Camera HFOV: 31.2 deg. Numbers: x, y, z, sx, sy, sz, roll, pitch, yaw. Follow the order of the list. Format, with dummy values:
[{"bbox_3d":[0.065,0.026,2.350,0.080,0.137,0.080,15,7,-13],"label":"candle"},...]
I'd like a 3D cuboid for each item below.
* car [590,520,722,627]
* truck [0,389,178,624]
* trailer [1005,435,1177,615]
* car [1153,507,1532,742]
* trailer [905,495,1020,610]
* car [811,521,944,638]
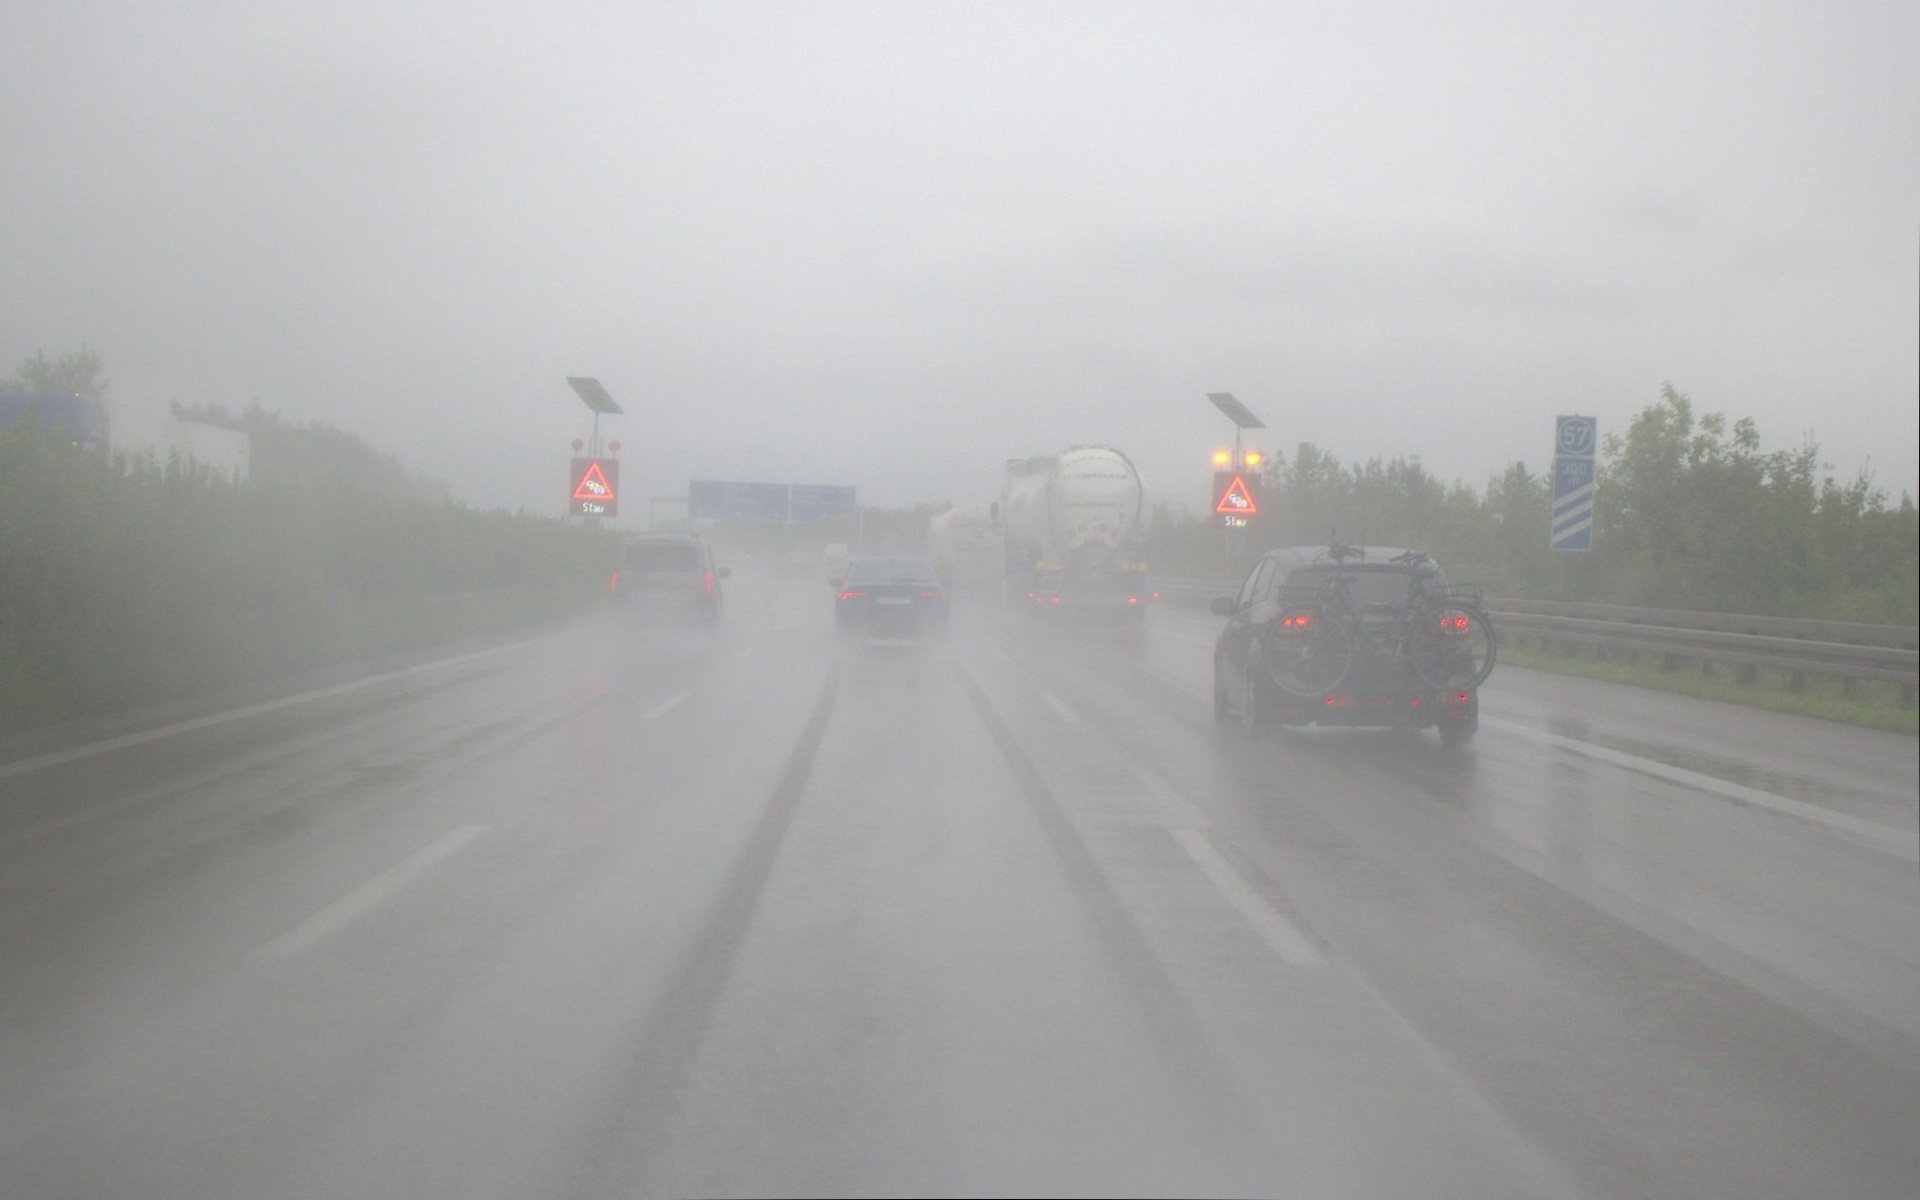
[{"bbox_3d":[-5.138,-0.467,58.642,1.925,1.735,4.404,1,1,-1],"label":"car"},{"bbox_3d":[-19.375,-1.950,72.770,3.835,4.623,9.409,1,1,-3],"label":"truck"},{"bbox_3d":[2.756,-1.634,76.233,3.188,3.657,11.667,1,1,-1],"label":"trailer"},{"bbox_3d":[3.040,0.134,28.746,2.457,1.740,5.719,1,1,-1],"label":"car"},{"bbox_3d":[0.022,-1.667,120.237,3.004,3.834,8.625,0,1,-7],"label":"trailer"},{"bbox_3d":[-1.284,-0.349,54.138,1.978,1.750,4.482,1,1,-1],"label":"car"}]
